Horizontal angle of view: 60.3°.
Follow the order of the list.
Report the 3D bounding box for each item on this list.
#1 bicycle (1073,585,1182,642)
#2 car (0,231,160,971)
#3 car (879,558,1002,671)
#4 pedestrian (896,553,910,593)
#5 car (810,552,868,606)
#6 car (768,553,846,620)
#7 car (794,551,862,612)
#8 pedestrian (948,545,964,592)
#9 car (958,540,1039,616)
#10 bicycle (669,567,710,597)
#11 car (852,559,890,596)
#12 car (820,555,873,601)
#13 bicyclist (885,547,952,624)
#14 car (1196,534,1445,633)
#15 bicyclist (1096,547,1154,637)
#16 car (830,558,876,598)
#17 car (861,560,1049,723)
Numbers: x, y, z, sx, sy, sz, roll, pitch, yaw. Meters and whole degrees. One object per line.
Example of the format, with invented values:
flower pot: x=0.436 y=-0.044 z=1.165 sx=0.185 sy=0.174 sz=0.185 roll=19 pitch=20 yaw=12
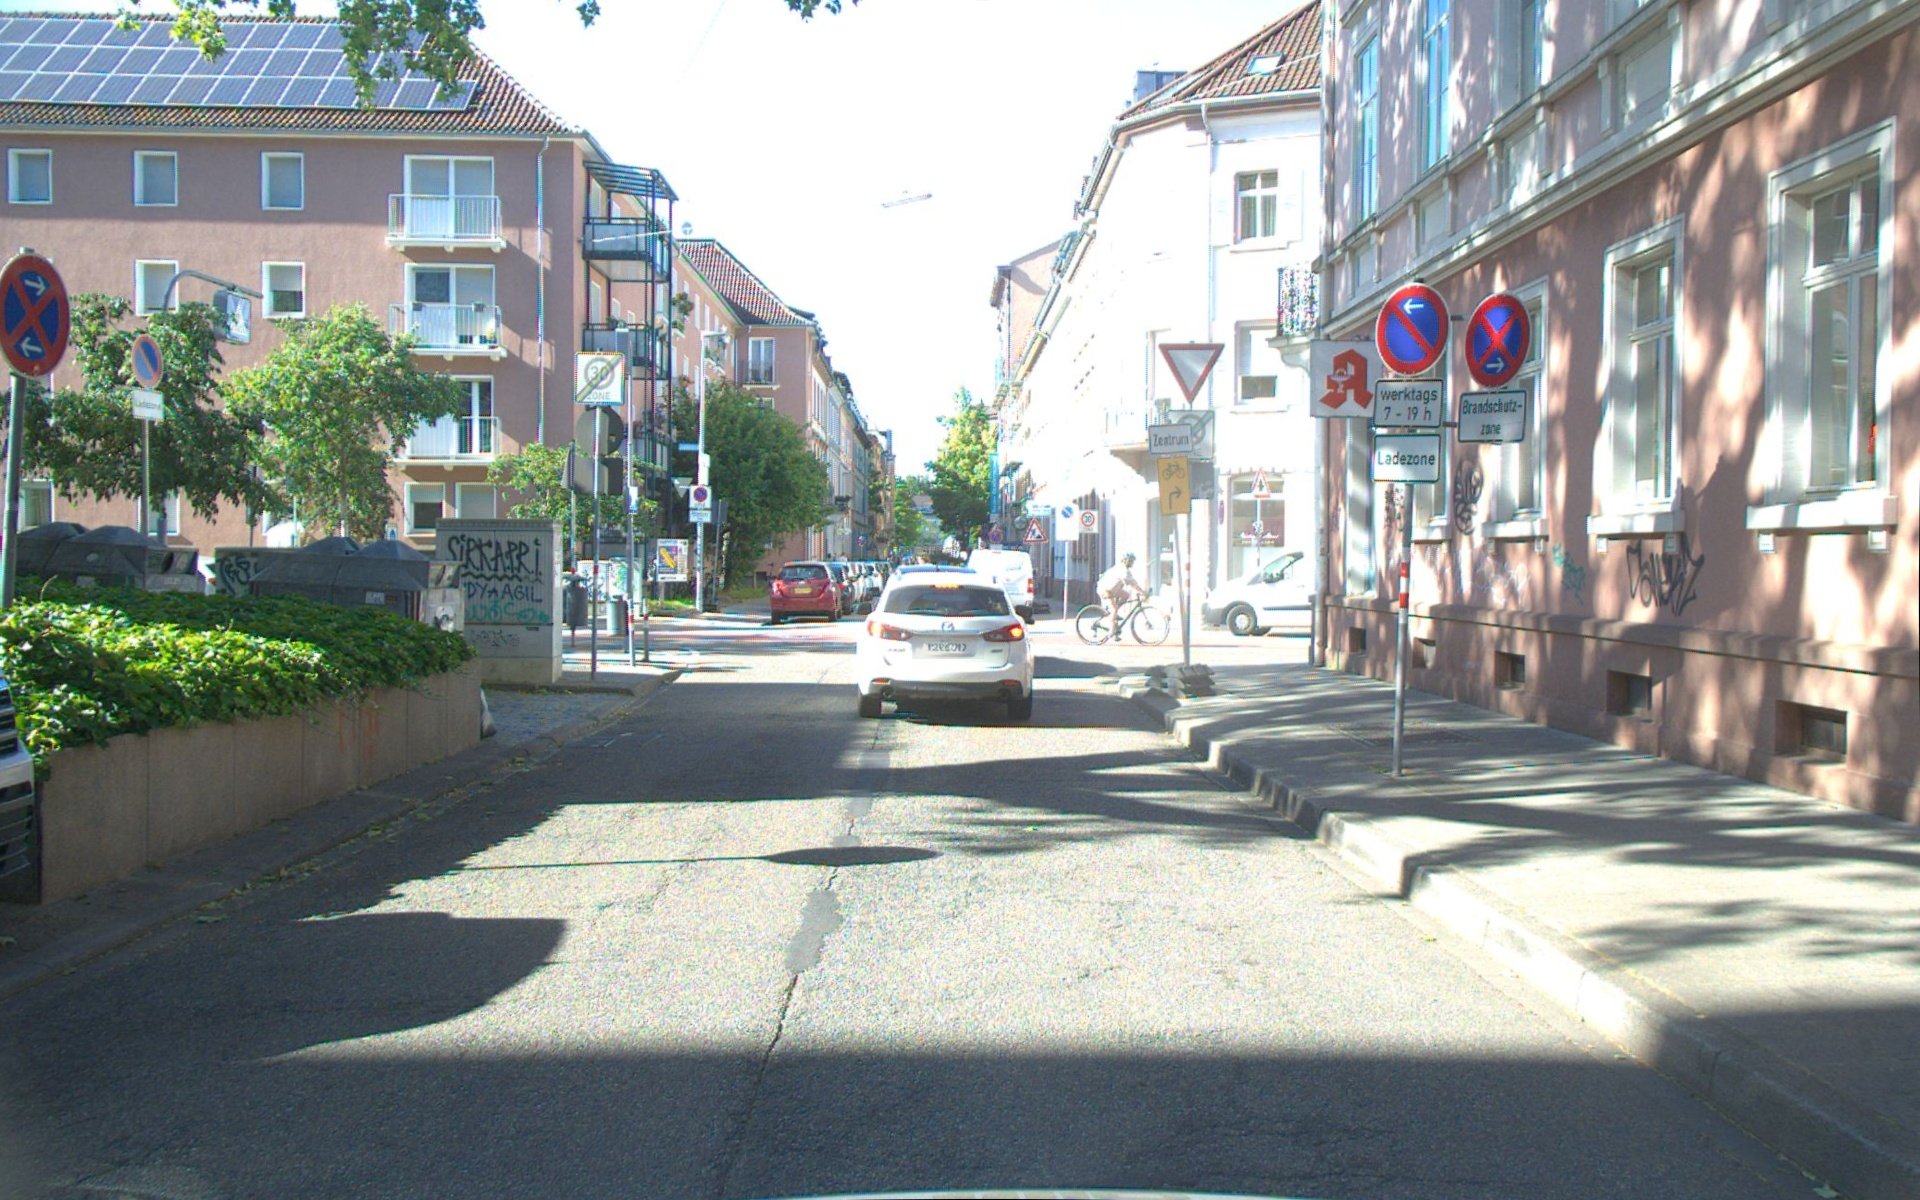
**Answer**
bicycle: x=2.995 y=0.234 z=29.695 sx=1.888 sy=1.003 sz=0.663 roll=0 pitch=1 yaw=-2
car: x=-6.660 y=-0.153 z=5.749 sx=6.601 sy=2.599 sz=2.146 roll=3 pitch=1 yaw=0
car: x=-0.309 y=0.147 z=23.904 sx=1.648 sy=1.507 sz=3.660 roll=0 pitch=1 yaw=-2
pedestrian: x=-2.641 y=-1.262 z=76.488 sx=0.634 sy=1.828 sz=0.639 roll=0 pitch=0 yaw=0
car: x=-3.891 y=-0.671 z=53.679 sx=1.602 sy=1.684 sz=3.785 roll=0 pitch=1 yaw=0
car: x=-3.896 y=-0.389 z=42.568 sx=1.734 sy=1.616 sz=3.726 roll=0 pitch=2 yaw=-2
car: x=-3.800 y=-0.560 z=48.167 sx=1.685 sy=1.712 sz=3.726 roll=0 pitch=1 yaw=0
pedestrian: x=-0.178 y=-1.444 z=75.840 sx=0.755 sy=2.155 sz=0.834 roll=0 pitch=0 yaw=0
car: x=1.021 y=-0.629 z=45.877 sx=1.904 sy=1.981 sz=4.076 roll=1 pitch=1 yaw=-3
bicycle: x=-8.812 y=-0.583 z=53.758 sx=0.598 sy=0.948 sz=1.893 roll=-1 pitch=1 yaw=-34
car: x=-4.015 y=-1.022 z=74.783 sx=1.540 sy=1.613 sz=3.611 roll=0 pitch=1 yaw=0
car: x=-4.116 y=-0.804 z=60.460 sx=1.685 sy=1.604 sz=3.726 roll=0 pitch=1 yaw=0
bicyclist: x=-0.840 y=-0.302 z=33.666 sx=1.170 sy=1.542 sz=0.841 roll=0 pitch=1 yaw=14
car: x=7.567 y=-0.355 z=34.684 sx=4.791 sy=1.962 sz=1.999 roll=1 pitch=-1 yaw=24
bicyclist: x=2.954 y=-0.150 z=29.690 sx=0.963 sy=1.580 sz=0.761 roll=0 pitch=0 yaw=-1
car: x=-4.143 y=-0.859 z=64.472 sx=1.569 sy=1.502 sz=3.567 roll=0 pitch=1 yaw=0
car: x=-0.096 y=0.350 z=17.764 sx=1.787 sy=1.540 sz=3.823 roll=1 pitch=1 yaw=-2
